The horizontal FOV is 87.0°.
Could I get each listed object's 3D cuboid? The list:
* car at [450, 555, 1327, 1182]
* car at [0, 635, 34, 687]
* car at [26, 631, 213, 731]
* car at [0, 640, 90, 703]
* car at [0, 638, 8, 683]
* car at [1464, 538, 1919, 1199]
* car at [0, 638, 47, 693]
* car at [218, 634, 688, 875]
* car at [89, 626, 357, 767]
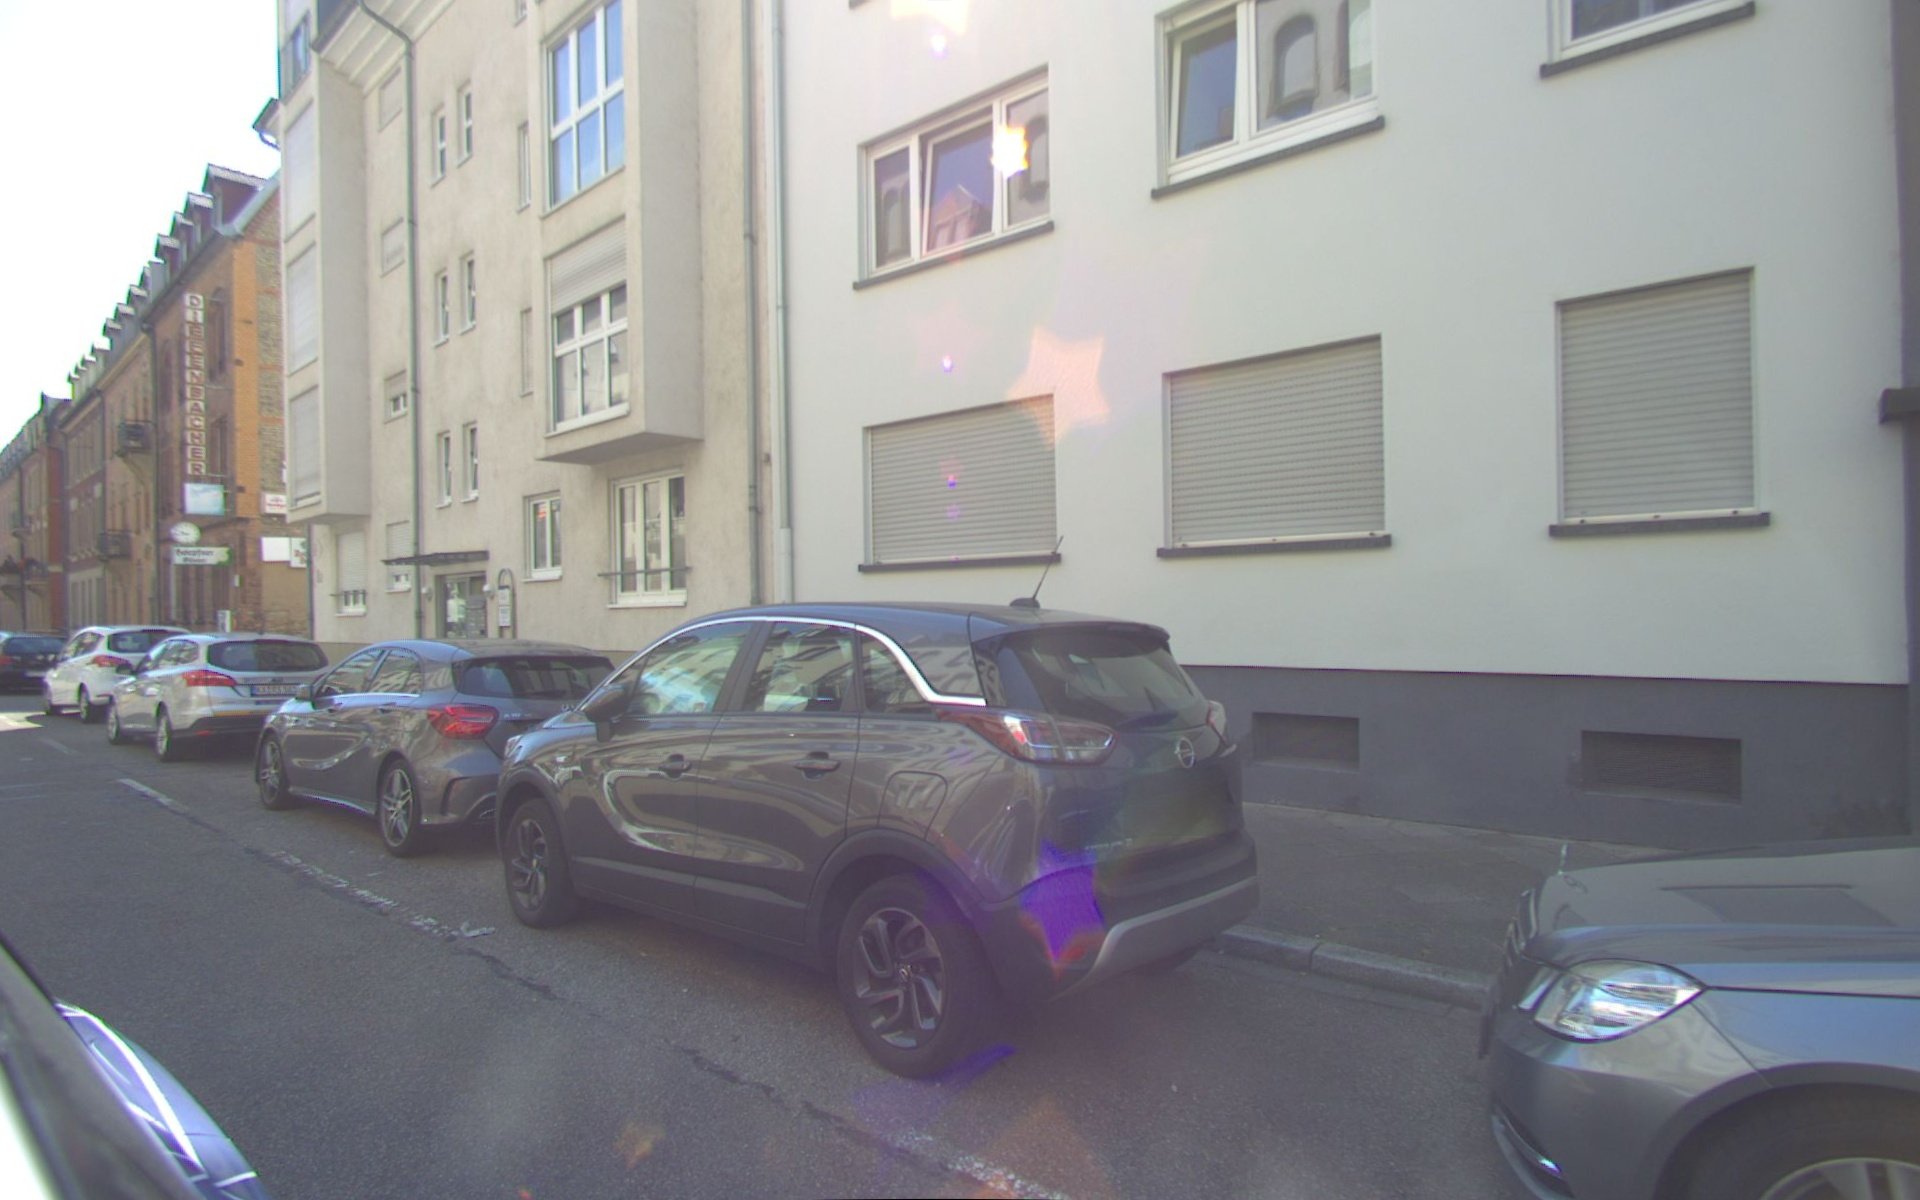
[{"bbox_3d":[-0.601,0.773,4.593,3.974,1.657,1.587,-1,-3,40],"label":"car"},{"bbox_3d":[-30.251,1.864,31.518,3.521,1.555,1.432,-1,-5,38],"label":"car"},{"bbox_3d":[-14.685,1.359,17.621,3.847,1.561,1.613,-1,-5,38],"label":"car"},{"bbox_3d":[-22.857,1.727,24.841,3.836,1.440,1.758,-2,-5,42],"label":"car"},{"bbox_3d":[-33.603,1.997,34.277,3.522,1.484,1.432,-1,-5,39],"label":"car"},{"bbox_3d":[3.354,0.664,1.225,4.667,1.530,1.639,-1,-3,40],"label":"car"},{"bbox_3d":[-26.749,1.776,28.124,3.677,1.440,1.611,-2,-5,42],"label":"car"},{"bbox_3d":[-4.203,0.992,8.065,4.345,1.404,1.747,-1,-3,40],"label":"car"},{"bbox_3d":[-9.491,1.120,12.905,4.345,1.506,1.713,-1,-4,40],"label":"car"}]
